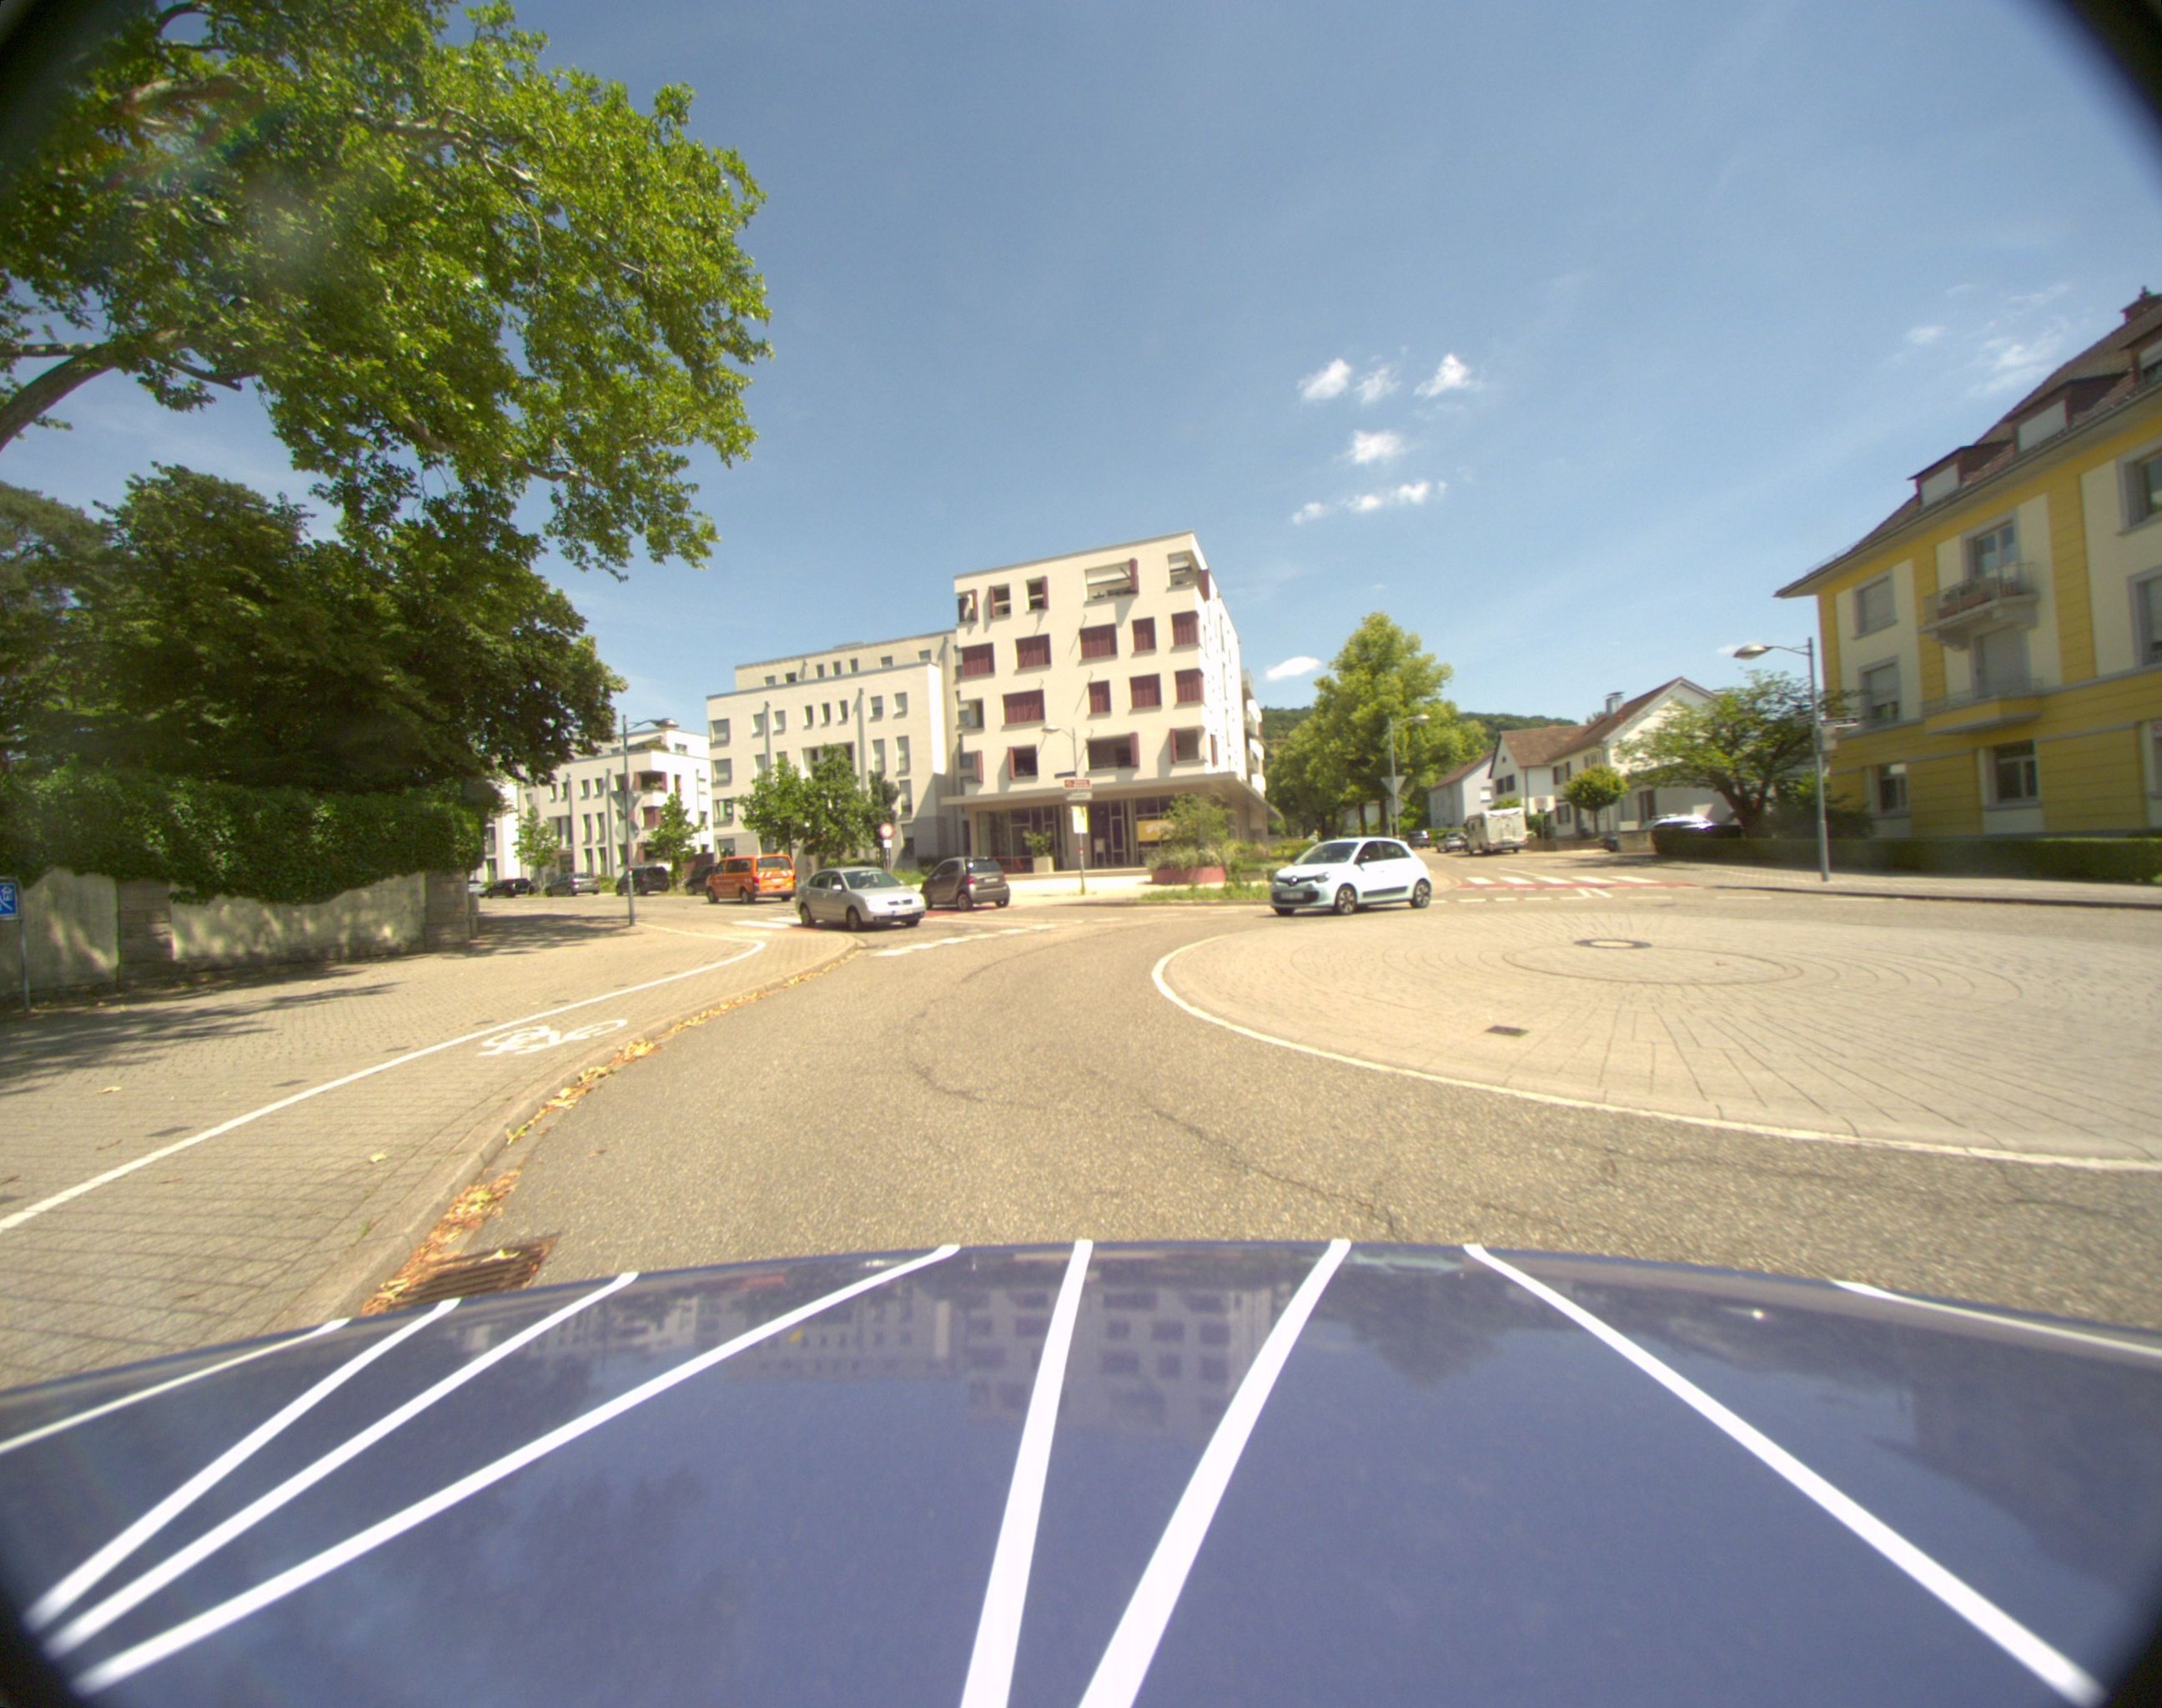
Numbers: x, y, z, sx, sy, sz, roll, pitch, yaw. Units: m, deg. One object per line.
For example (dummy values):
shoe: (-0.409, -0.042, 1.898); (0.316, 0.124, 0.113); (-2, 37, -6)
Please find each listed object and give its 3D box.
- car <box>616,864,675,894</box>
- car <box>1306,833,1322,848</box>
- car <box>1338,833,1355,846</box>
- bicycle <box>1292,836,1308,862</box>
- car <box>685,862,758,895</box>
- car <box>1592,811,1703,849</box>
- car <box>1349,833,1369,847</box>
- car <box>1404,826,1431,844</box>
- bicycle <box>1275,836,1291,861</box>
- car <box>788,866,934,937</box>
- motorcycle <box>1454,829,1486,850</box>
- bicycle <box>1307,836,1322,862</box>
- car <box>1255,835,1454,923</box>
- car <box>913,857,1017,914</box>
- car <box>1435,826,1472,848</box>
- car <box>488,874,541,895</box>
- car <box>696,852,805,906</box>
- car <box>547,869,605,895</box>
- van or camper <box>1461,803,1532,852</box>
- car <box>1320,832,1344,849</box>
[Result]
car: (-26.522, 1.536, 46.273); (3.617, 1.690, 1.703); (-2, 1, 36)
car: (30.126, -1.772, 98.334); (1.764, 1.740, 4.004); (-3, 1, 16)
car: (39.034, -2.145, 111.759); (1.996, 1.657, 4.002); (-3, 2, 13)
bicycle: (12.220, -0.295, 42.327); (0.569, 1.370, 1.750); (-2, 1, 24)
car: (-19.423, 1.308, 41.007); (4.010, 1.628, 1.703); (-2, 1, 36)
car: (27.498, -1.151, 36.957); (3.989, 1.577, 1.756); (-3, 1, 2)
car: (36.833, -1.889, 100.641); (1.996, 1.657, 4.002); (-3, 2, 13)
car: (31.493, -1.796, 71.215); (1.753, 1.496, 3.996); (-3, 1, 16)
bicycle: (11.361, -0.329, 42.721); (0.569, 1.370, 1.750); (-2, 1, 24)
car: (-5.388, 1.087, 18.332); (1.611, 1.443, 3.989); (-4, 1, -44)
motorcycle: (26.847, -0.989, 52.438); (2.236, 1.312, 0.738); (-3, 1, -28)
bicycle: (12.922, -0.308, 42.014); (0.569, 1.370, 1.750); (-2, 1, 24)
car: (5.747, 0.467, 15.823); (4.168, 1.516, 1.657); (-3, -1, -33)
car: (-3.461, 0.914, 22.517); (2.781, 1.521, 1.573); (-2, 1, 41)
car: (27.707, -1.252, 56.621); (1.753, 1.496, 3.996); (-3, 1, 16)
car: (-41.665, 2.252, 55.852); (3.618, 1.405, 1.710); (-2, 1, 29)
car: (-13.730, 1.032, 31.423); (5.007, 1.948, 1.953); (-2, 2, 40)
car: (-34.334, 1.889, 51.626); (3.618, 1.580, 1.794); (-2, 1, 31)
van or camper: (25.575, -1.580, 47.044); (2.271, 2.623, 5.891); (-6, 0, 15)
car: (26.755, -1.493, 81.051); (1.996, 1.657, 4.002); (-3, 2, 13)
